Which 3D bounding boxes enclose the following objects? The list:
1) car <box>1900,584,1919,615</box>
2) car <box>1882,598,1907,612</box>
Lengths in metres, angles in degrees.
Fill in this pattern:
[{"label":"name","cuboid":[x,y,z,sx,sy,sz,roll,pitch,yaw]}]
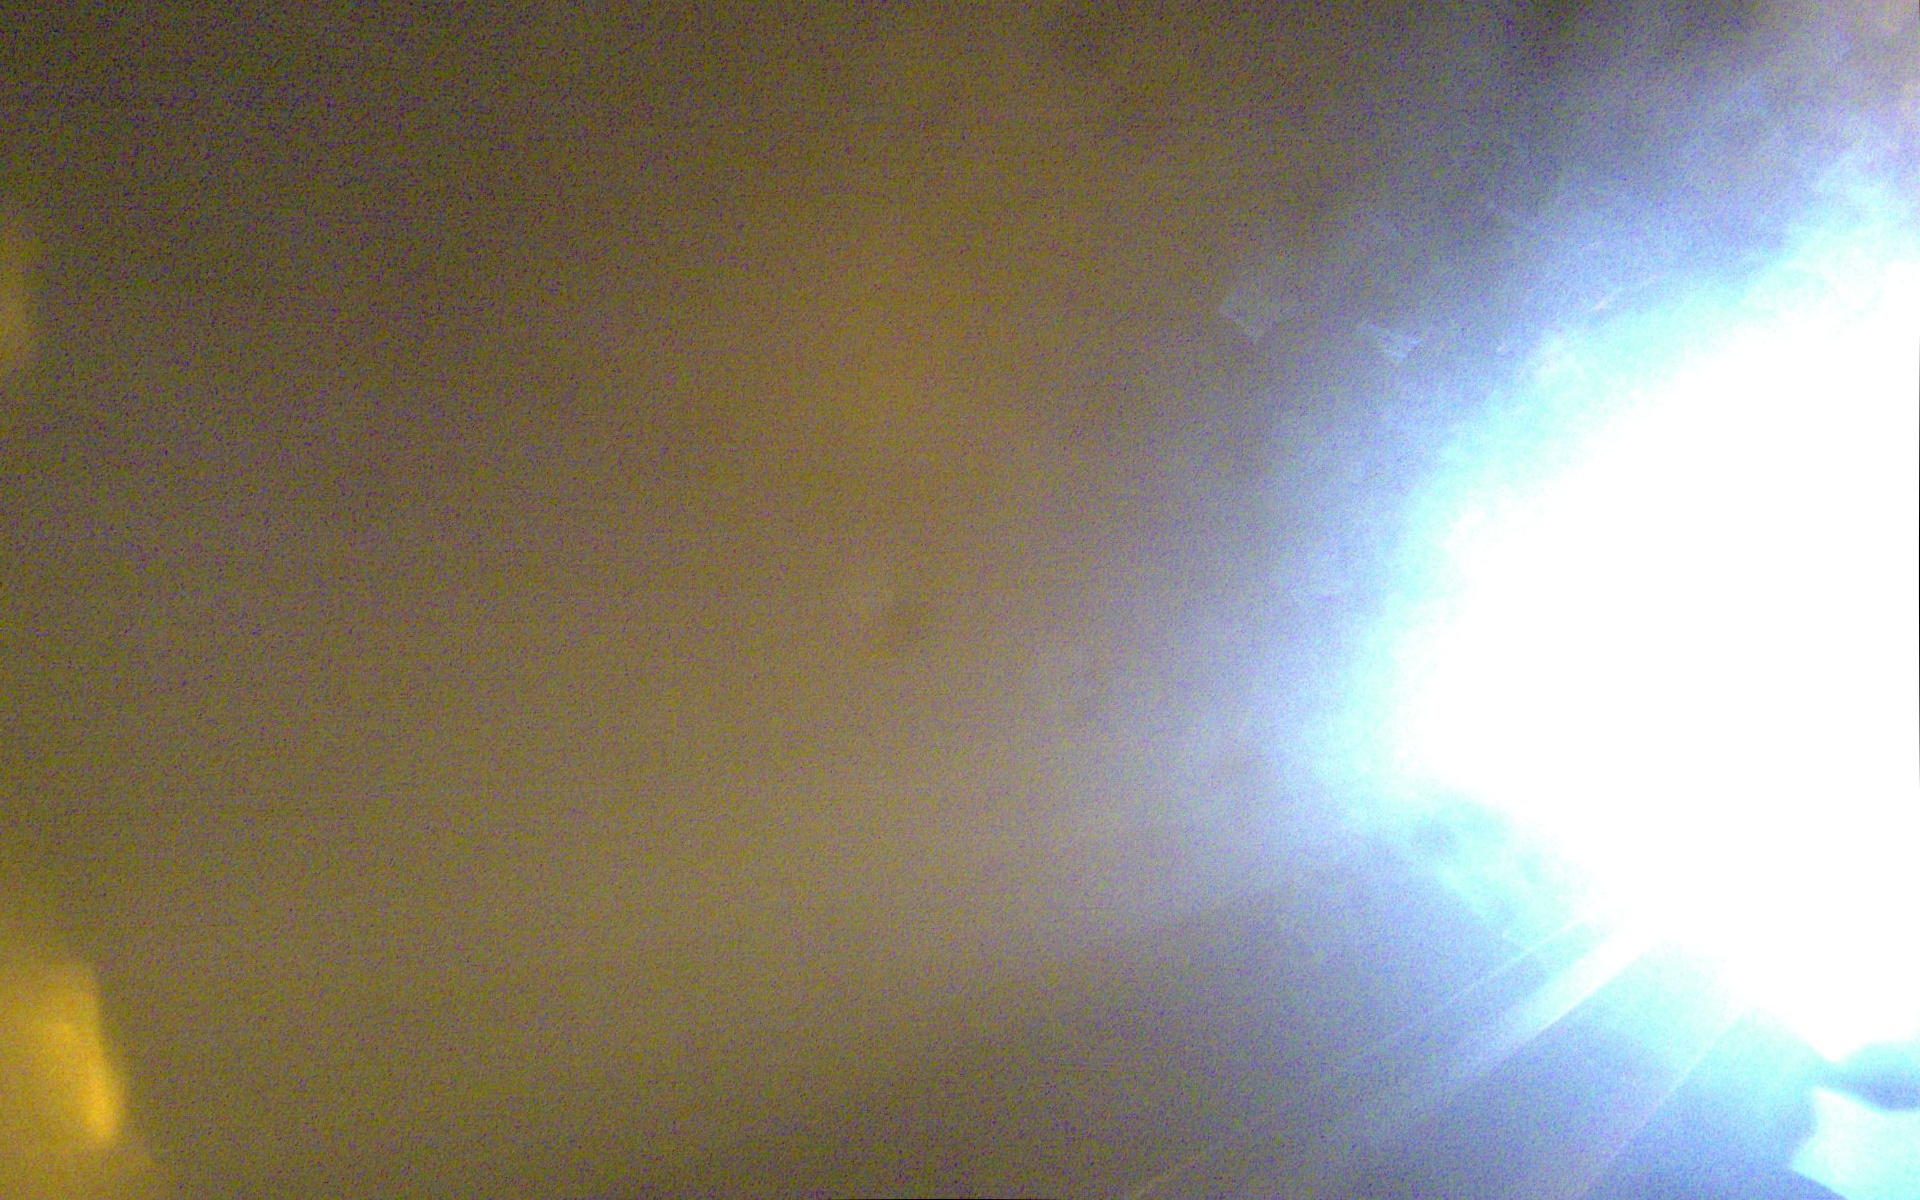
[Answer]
[{"label":"car","cuboid":[66.126,-0.055,69.439,1.890,2.038,3.947,2,2,37]},{"label":"car","cuboid":[93.587,0.465,101.409,1.711,1.395,4.516,0,0,42]}]
